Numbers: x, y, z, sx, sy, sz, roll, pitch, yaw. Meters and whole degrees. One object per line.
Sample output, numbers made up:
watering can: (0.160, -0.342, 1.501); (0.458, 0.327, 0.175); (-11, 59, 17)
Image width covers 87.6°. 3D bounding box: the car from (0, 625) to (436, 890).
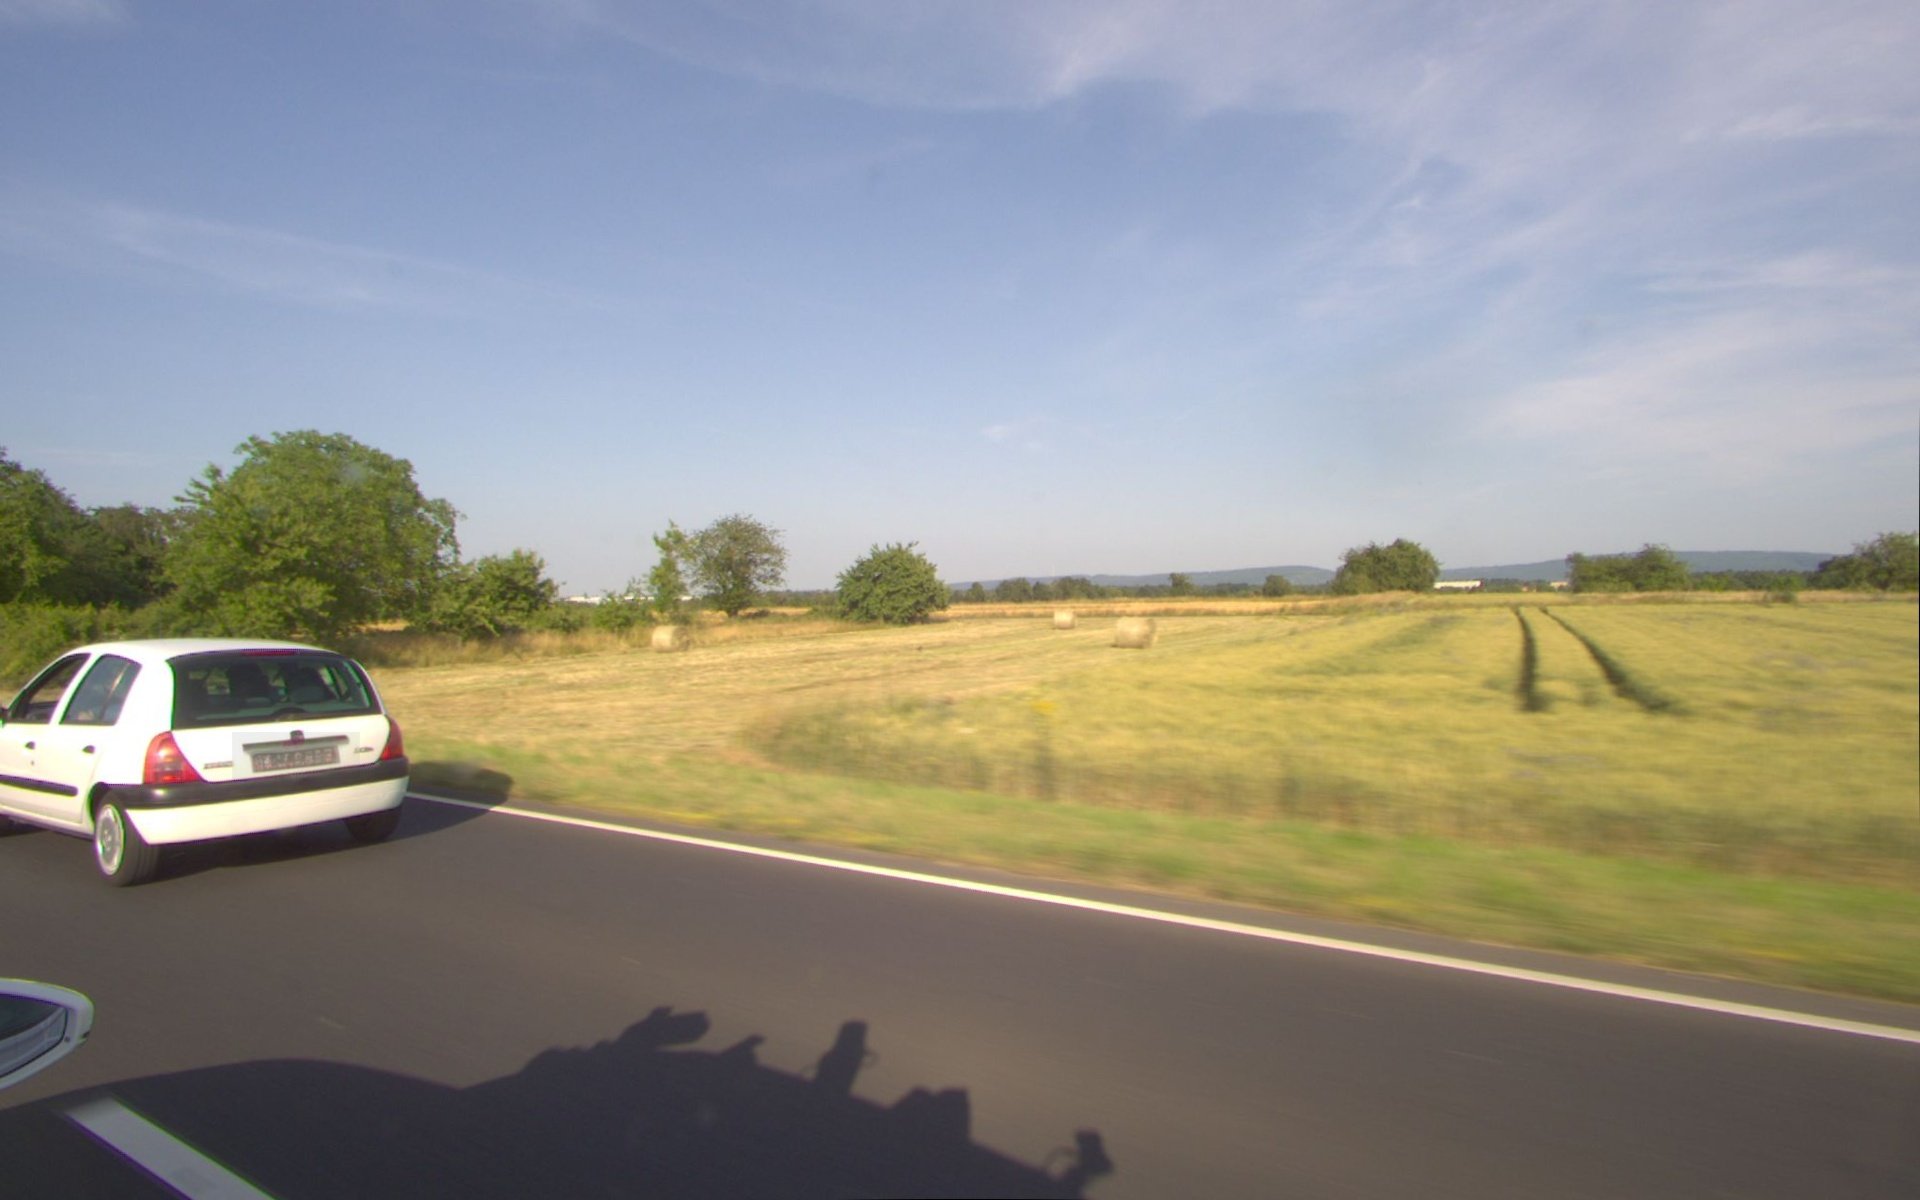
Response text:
car: (-5.561, 0.909, 7.061); (3.896, 1.405, 1.614); (-2, -2, 33)
